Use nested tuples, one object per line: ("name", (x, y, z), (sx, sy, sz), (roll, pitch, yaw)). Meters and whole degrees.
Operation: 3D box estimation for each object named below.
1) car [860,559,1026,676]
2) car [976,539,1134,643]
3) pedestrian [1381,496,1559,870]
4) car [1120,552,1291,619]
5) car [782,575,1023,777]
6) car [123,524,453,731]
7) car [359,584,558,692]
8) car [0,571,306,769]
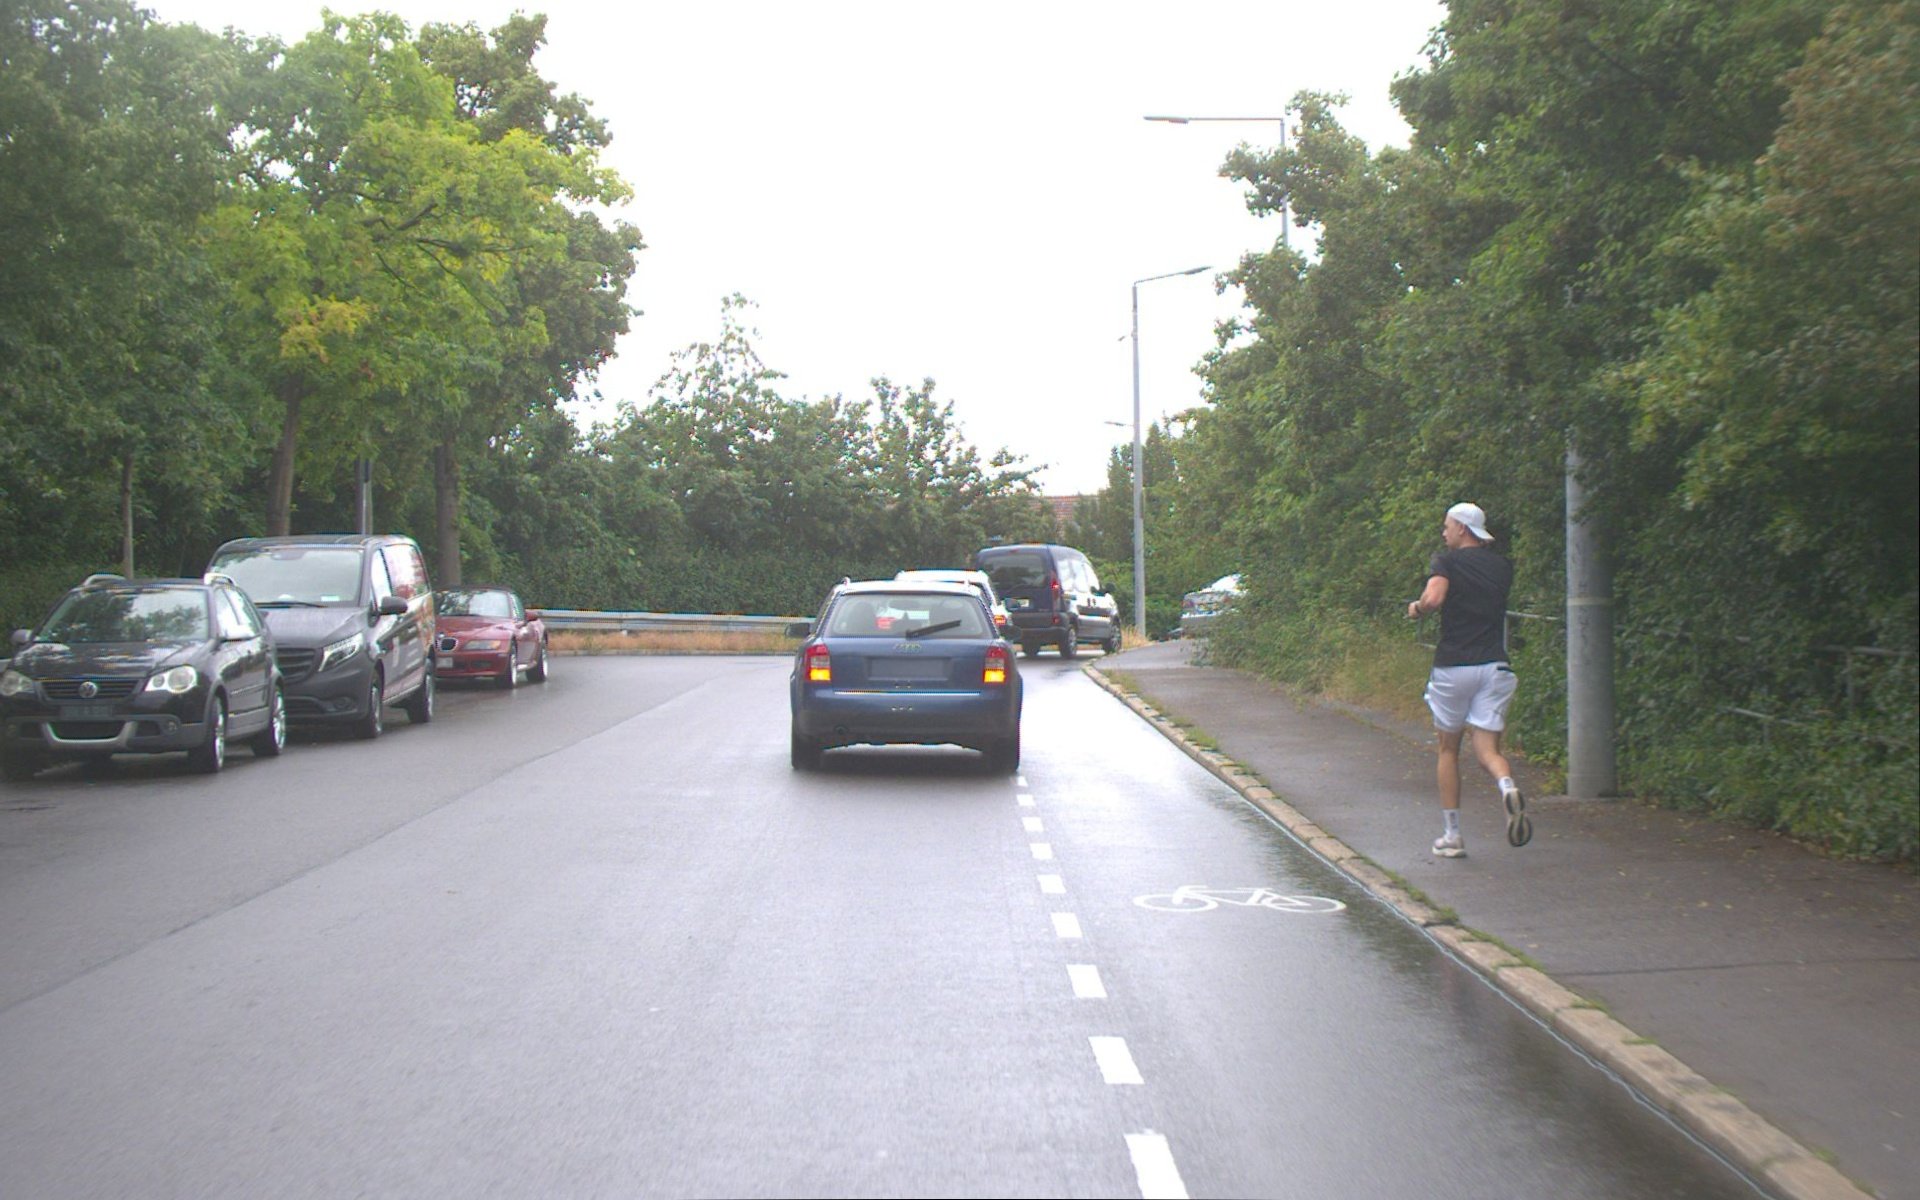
("car", (-0.163, 0.206, 43.261), (1.891, 1.384, 4.000), (-1, 0, 3))
("car", (1.588, -0.156, 56.217), (1.823, 1.611, 3.783), (-1, 0, 13))
("pedestrian", (2.589, 0.404, 17.546), (0.717, 1.828, 1.021), (-2, 1, 2))
("car", (4.710, -0.284, 65.552), (1.824, 1.198, 3.779), (-1, 0, 29))
("car", (-0.429, 0.539, 26.950), (1.747, 1.403, 4.000), (0, 1, 0))
("car", (-6.399, 0.237, 33.376), (2.083, 1.813, 5.381), (-1, 0, 0))
("car", (-6.415, 0.461, 44.414), (1.789, 1.292, 4.325), (-1, 0, 2))
("car", (-6.491, 0.510, 27.405), (1.797, 1.432, 4.256), (-1, 0, -1))
